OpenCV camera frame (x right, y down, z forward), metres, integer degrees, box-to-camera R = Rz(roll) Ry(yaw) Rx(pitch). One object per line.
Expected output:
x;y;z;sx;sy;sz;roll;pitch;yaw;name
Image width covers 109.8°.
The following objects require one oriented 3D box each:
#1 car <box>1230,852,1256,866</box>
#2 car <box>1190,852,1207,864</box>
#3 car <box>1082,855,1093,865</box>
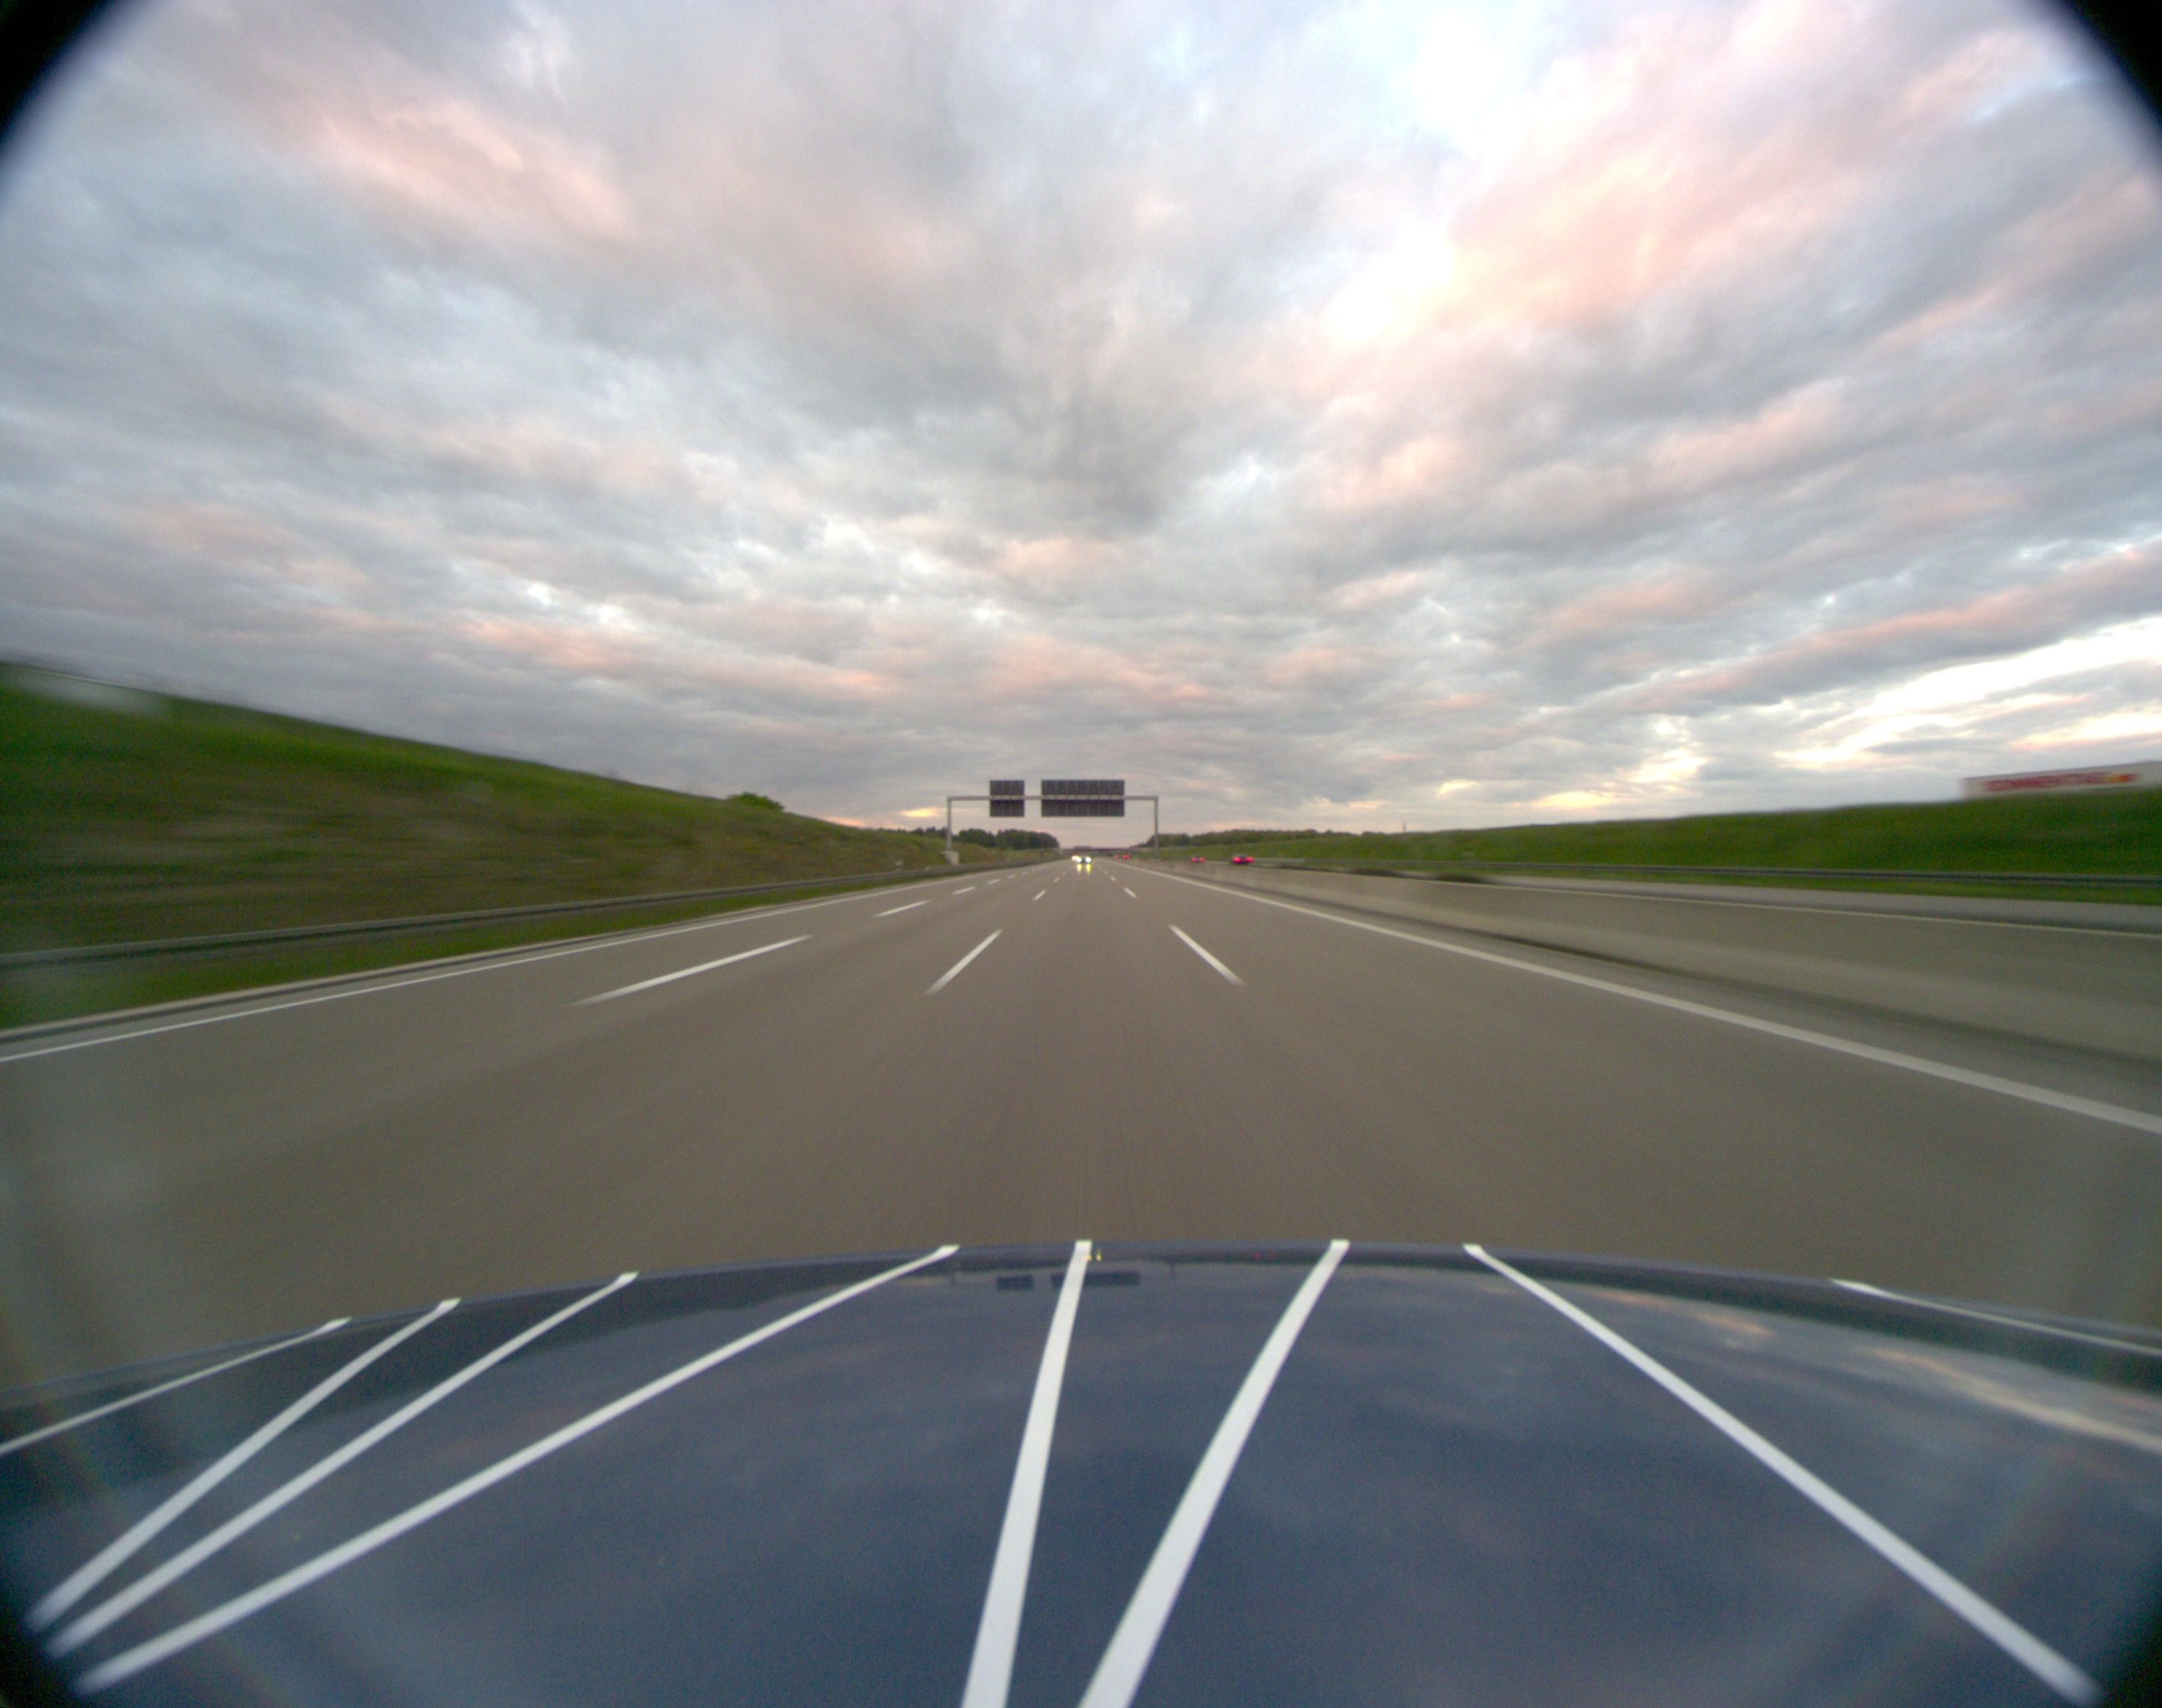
19.637;0.575;92.288;1.999;1.593;5.199;-1;0;-1;car
16.182;0.514;104.556;1.824;1.619;4.000;-1;0;2;car
1.051;1.036;128.193;1.801;1.674;4.385;-1;1;1;car
